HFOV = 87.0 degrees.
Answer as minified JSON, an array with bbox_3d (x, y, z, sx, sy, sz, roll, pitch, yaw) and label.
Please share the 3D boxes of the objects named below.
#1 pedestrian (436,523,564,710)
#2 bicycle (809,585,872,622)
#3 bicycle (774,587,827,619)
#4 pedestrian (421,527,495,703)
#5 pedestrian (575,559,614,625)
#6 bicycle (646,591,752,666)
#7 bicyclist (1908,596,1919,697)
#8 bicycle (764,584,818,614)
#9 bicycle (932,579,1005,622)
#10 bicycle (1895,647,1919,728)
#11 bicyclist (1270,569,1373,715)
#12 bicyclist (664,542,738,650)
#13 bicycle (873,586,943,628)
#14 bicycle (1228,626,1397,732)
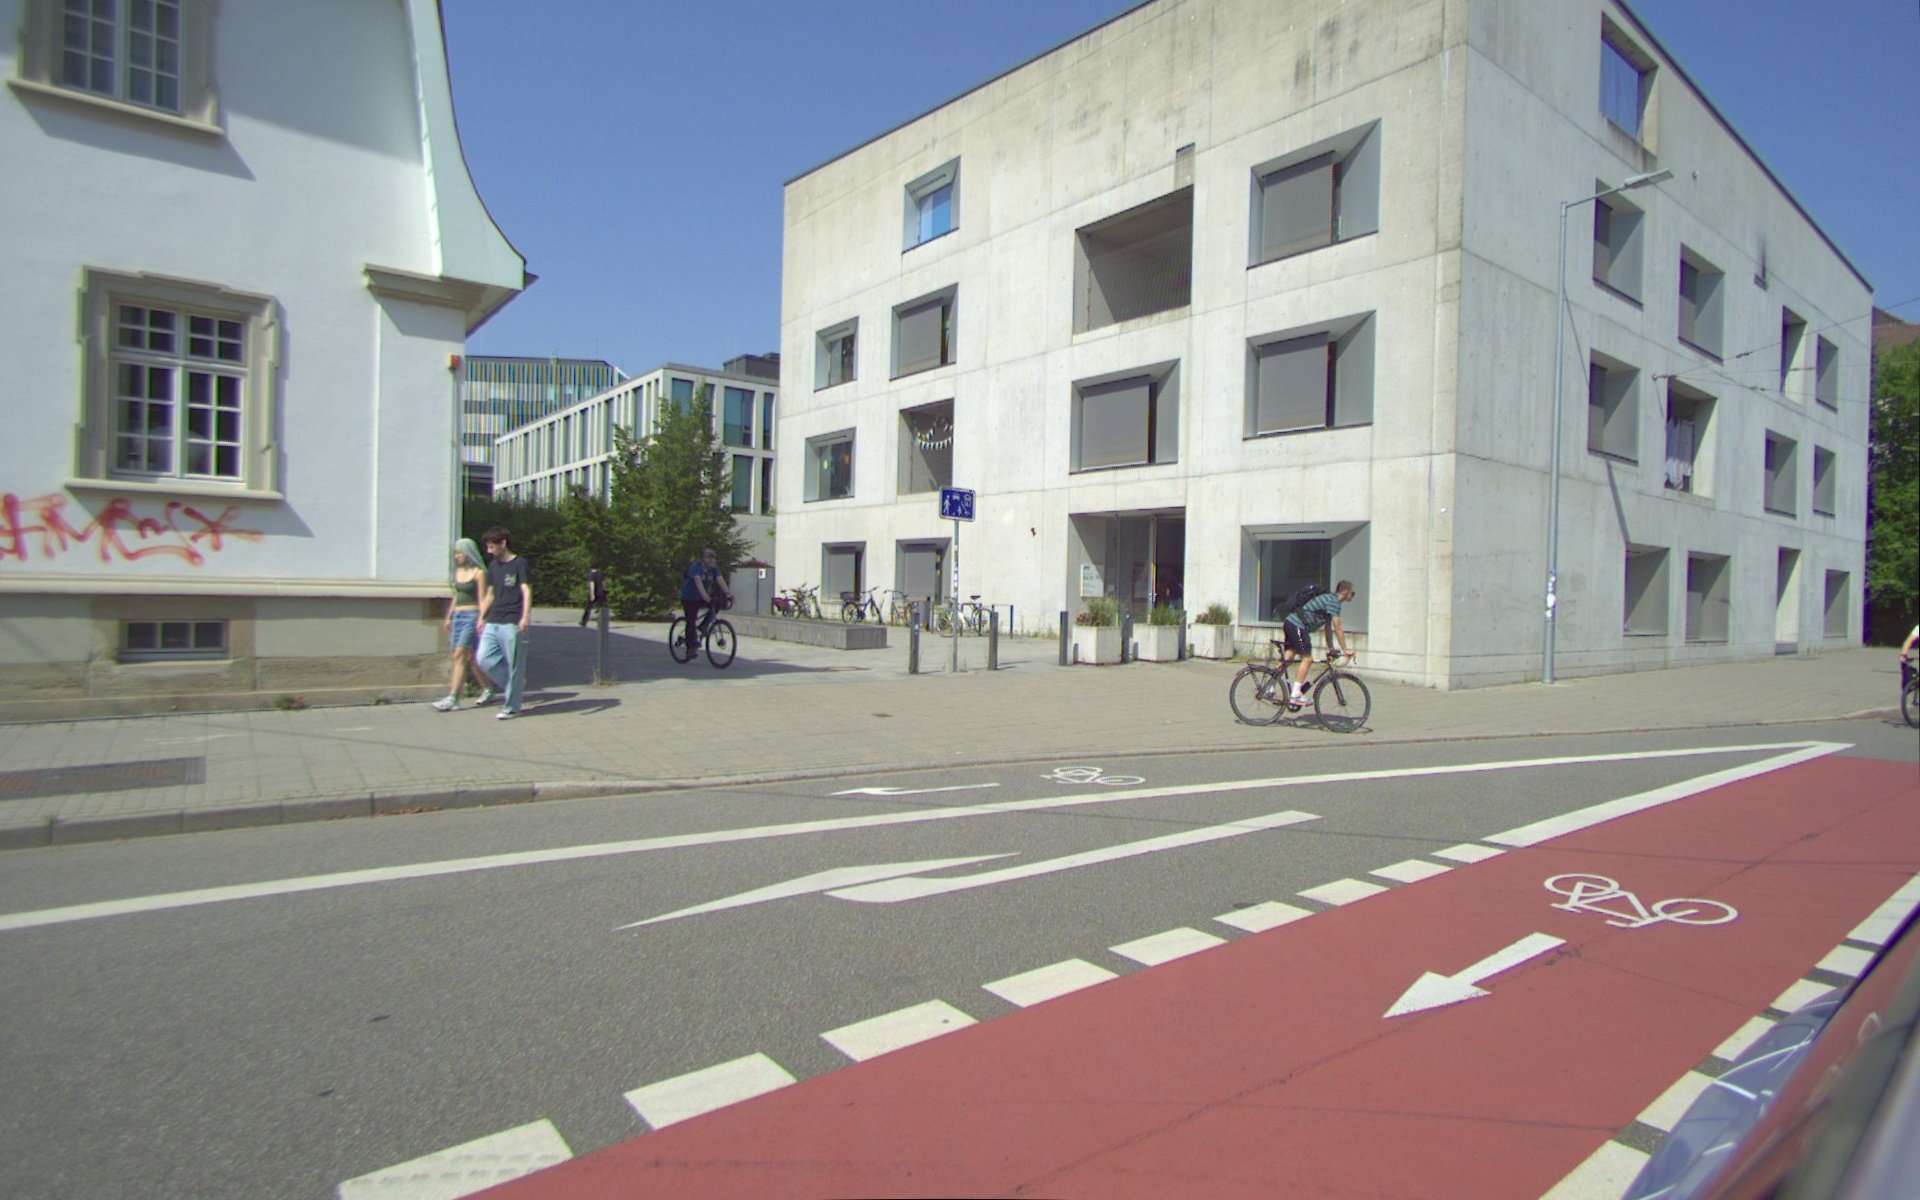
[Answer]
[{"bbox_3d":[-4.399,0.144,9.694,0.726,1.686,0.867,1,0,38],"label":"pedestrian"},{"bbox_3d":[-3.395,0.105,28.697,1.632,1.012,0.617,1,1,-27],"label":"bicycle"},{"bbox_3d":[-4.880,0.082,31.061,1.598,0.948,0.456,0,1,-39],"label":"bicycle"},{"bbox_3d":[-5.009,0.135,10.102,0.479,1.687,0.619,1,0,-43],"label":"pedestrian"},{"bbox_3d":[-9.148,-0.208,25.325,0.737,1.598,0.596,2,1,37],"label":"pedestrian"},{"bbox_3d":[-4.013,0.408,15.508,1.701,1.012,0.608,4,2,35],"label":"bicycle"},{"bbox_3d":[14.139,0.665,14.427,0.944,1.429,0.747,1,0,-38],"label":"bicyclist"},{"bbox_3d":[-5.292,-0.032,31.717,1.680,0.884,0.512,0,2,-44],"label":"bicycle"},{"bbox_3d":[0.213,-0.009,24.186,1.651,0.966,0.620,-2,2,-32],"label":"bicycle"},{"bbox_3d":[14.037,1.230,14.390,2.192,1.062,0.741,1,1,-38],"label":"bicycle"},{"bbox_3d":[4.195,0.468,11.792,0.975,1.618,0.627,2,0,7],"label":"bicyclist"},{"bbox_3d":[-3.963,-0.083,15.479,0.898,1.557,0.620,5,3,34],"label":"bicyclist"},{"bbox_3d":[-1.325,0.179,25.710,1.632,1.012,0.617,1,2,-27],"label":"bicycle"},{"bbox_3d":[4.076,0.902,11.811,1.683,1.012,0.614,5,2,9],"label":"bicycle"}]
